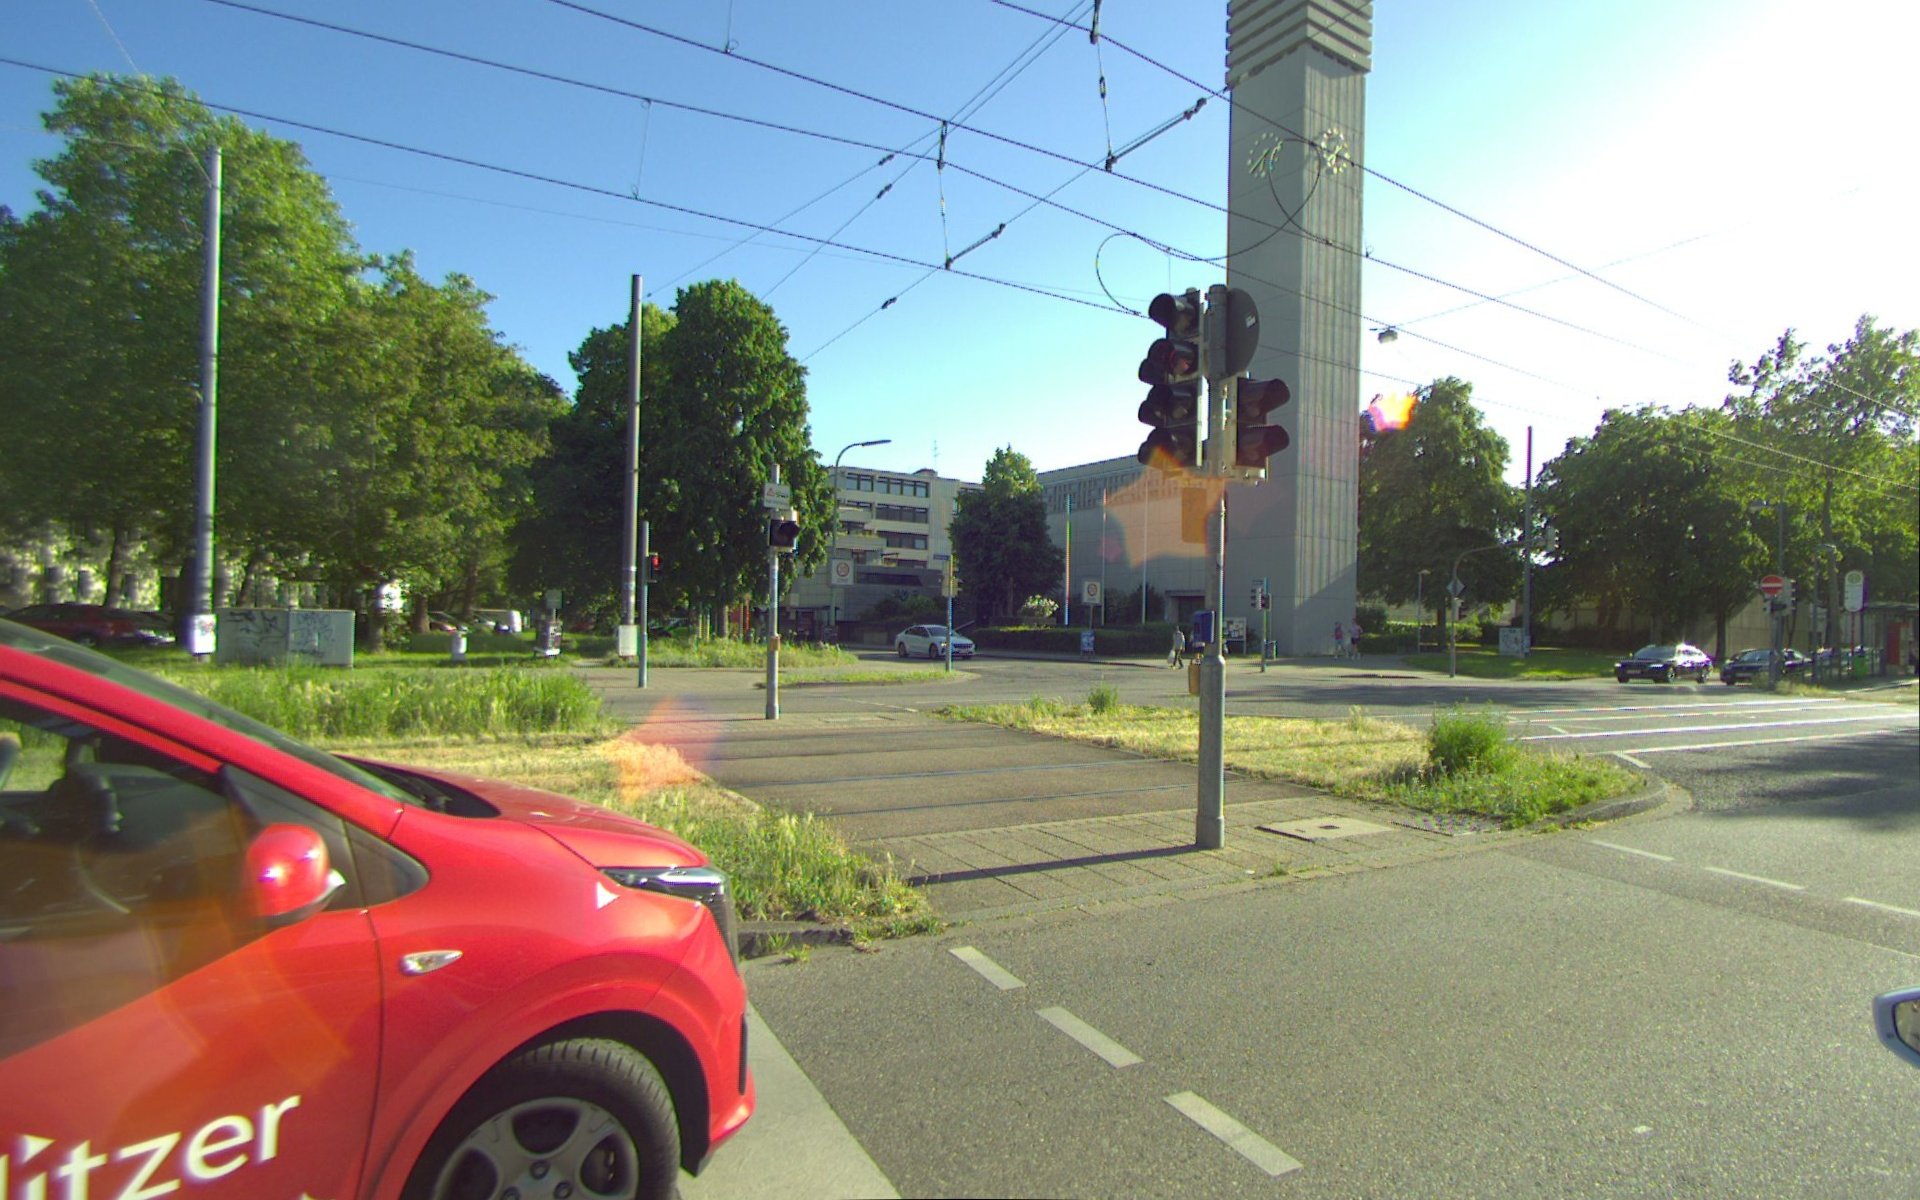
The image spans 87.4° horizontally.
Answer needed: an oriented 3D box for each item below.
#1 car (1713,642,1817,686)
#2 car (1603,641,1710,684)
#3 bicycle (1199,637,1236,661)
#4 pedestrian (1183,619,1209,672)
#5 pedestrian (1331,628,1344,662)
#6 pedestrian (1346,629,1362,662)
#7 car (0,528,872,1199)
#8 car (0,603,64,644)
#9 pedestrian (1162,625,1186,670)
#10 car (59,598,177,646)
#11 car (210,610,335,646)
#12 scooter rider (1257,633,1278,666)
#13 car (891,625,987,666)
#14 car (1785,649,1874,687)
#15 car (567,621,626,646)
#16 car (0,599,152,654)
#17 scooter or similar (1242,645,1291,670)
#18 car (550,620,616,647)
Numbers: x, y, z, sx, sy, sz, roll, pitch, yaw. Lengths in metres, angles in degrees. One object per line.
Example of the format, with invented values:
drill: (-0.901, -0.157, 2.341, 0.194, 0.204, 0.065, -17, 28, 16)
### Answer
car: (30.842, 2.425, 38.472, 4.309, 1.553, 1.679, 2, -1, -30)
car: (27.386, 2.436, 39.480, 4.309, 1.553, 1.798, 2, -2, -30)
bicycle: (11.899, 2.254, 46.374, 1.659, 1.060, 0.490, 2, 1, -23)
pedestrian: (8.760, 1.689, 37.277, 0.735, 1.941, 0.417, 2, 1, -20)
pedestrian: (17.990, 2.123, 47.873, 0.302, 1.581, 0.433, 2, 1, -33)
pedestrian: (18.561, 2.146, 47.336, 0.483, 1.527, 0.433, 2, 1, -33)
car: (-2.063, 0.636, 1.693, 1.674, 1.528, 3.681, 3, 1, 40)
car: (-40.911, 0.957, 42.429, 3.988, 1.686, 1.997, 2, -2, -10)
pedestrian: (8.376, 1.862, 39.285, 0.735, 1.689, 0.442, 2, 1, -20)
car: (-32.220, 0.848, 38.588, 1.718, 1.706, 3.992, 1, -1, -11)
car: (-28.631, 1.173, 41.941, 3.931, 1.400, 1.581, 1, -1, -13)
scooter rider: (11.768, 1.899, 38.448, 0.584, 1.234, 0.520, 1, 2, -45)
car: (-0.989, 1.980, 44.185, 1.980, 1.420, 4.672, 2, 1, -35)
car: (36.045, 2.802, 41.607, 3.868, 1.421, 1.558, 2, 1, -30)
car: (-27.364, 2.532, 75.589, 3.952, 1.795, 1.660, 2, -1, -30)
car: (-26.348, 0.772, 29.560, 3.585, 1.399, 1.641, 2, 1, -12)
scooter or similar: (11.743, 2.198, 38.489, 0.560, 0.911, 1.717, 2, -2, -44)
car: (-25.509, 2.263, 67.948, 3.952, 1.795, 1.660, 2, -1, -30)
